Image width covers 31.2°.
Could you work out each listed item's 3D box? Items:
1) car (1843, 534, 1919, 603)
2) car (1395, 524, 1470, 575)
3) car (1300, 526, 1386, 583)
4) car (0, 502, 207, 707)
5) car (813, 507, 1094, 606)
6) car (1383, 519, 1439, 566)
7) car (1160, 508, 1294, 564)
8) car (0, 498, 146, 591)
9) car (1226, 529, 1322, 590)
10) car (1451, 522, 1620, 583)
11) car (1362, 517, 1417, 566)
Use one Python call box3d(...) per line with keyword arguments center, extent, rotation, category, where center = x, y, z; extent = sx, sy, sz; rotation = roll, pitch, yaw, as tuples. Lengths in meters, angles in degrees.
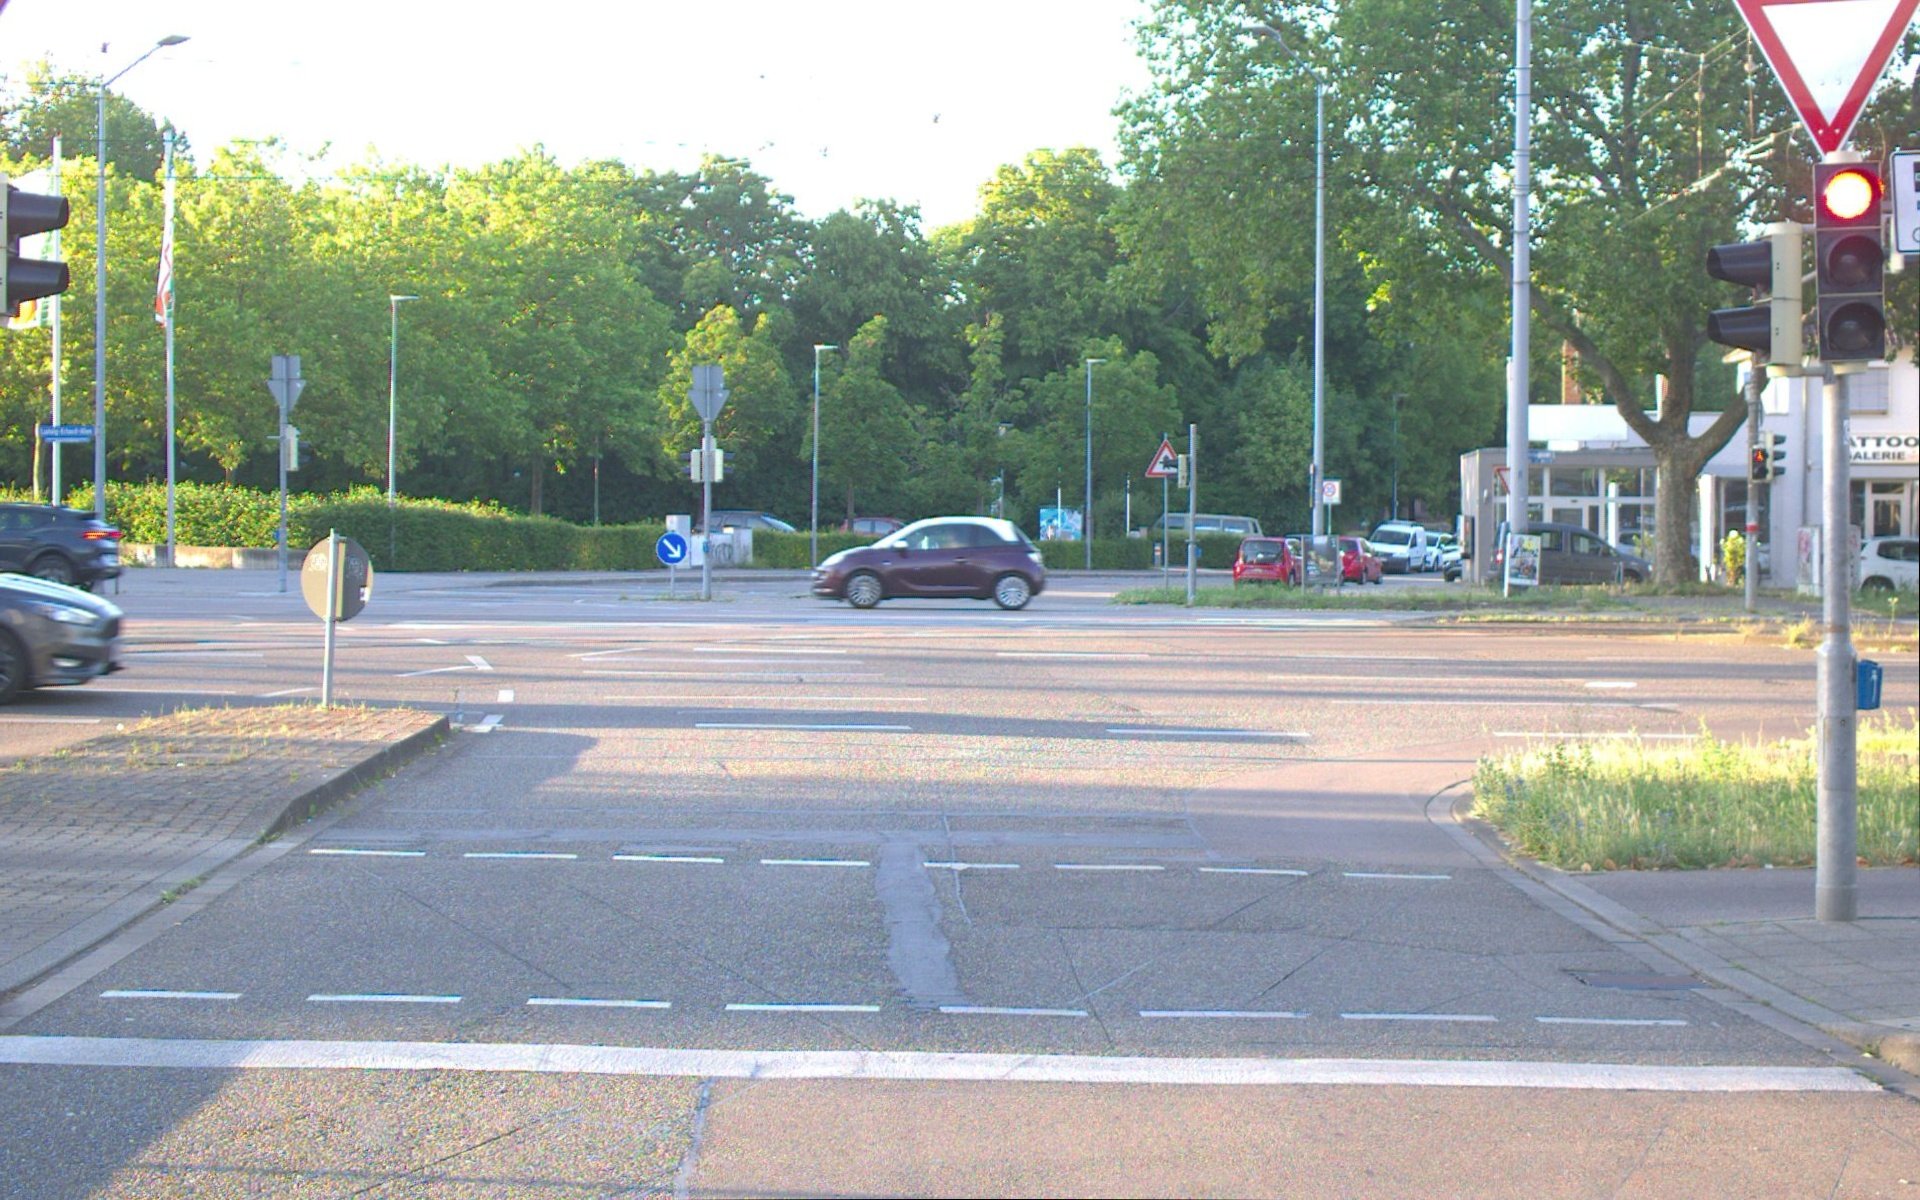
box3d(center=(20.556, -0.652, 72.258), extent=(3.741, 1.435, 1.663), rotation=(1, 0, 9), category="car")
box3d(center=(15.906, -1.696, 115.604), extent=(1.995, 1.656, 3.997), rotation=(1, 0, 15), category="car")
box3d(center=(11.542, -1.355, 103.378), extent=(1.995, 1.656, 3.997), rotation=(1, 0, 15), category="car")
box3d(center=(-8.490, -0.005, 26.420), extent=(5.007, 1.506, 1.988), rotation=(0, 1, -2), category="car")
box3d(center=(-0.083, -0.678, 54.175), extent=(4.331, 1.491, 1.804), rotation=(0, 0, 1), category="car")
box3d(center=(17.863, -2.275, 136.089), extent=(1.864, 1.788, 3.998), rotation=(1, 0, 12), category="car")
box3d(center=(9.765, -2.341, 125.879), extent=(4.774, 1.999, 2.000), rotation=(0, 0, 2), category="car")
box3d(center=(-15.764, -0.911, 56.502), extent=(4.331, 1.491, 1.804), rotation=(0, 0, 1), category="car")
box3d(center=(8.763, -1.115, 95.692), extent=(1.995, 1.656, 3.997), rotation=(1, 0, 15), category="car")
box3d(center=(14.900, -1.230, 89.174), extent=(4.220, 1.547, 1.999), rotation=(1, 0, 7), category="car")
box3d(center=(16.409, -2.212, 131.195), extent=(1.864, 1.788, 3.998), rotation=(1, 0, 10), category="car")
